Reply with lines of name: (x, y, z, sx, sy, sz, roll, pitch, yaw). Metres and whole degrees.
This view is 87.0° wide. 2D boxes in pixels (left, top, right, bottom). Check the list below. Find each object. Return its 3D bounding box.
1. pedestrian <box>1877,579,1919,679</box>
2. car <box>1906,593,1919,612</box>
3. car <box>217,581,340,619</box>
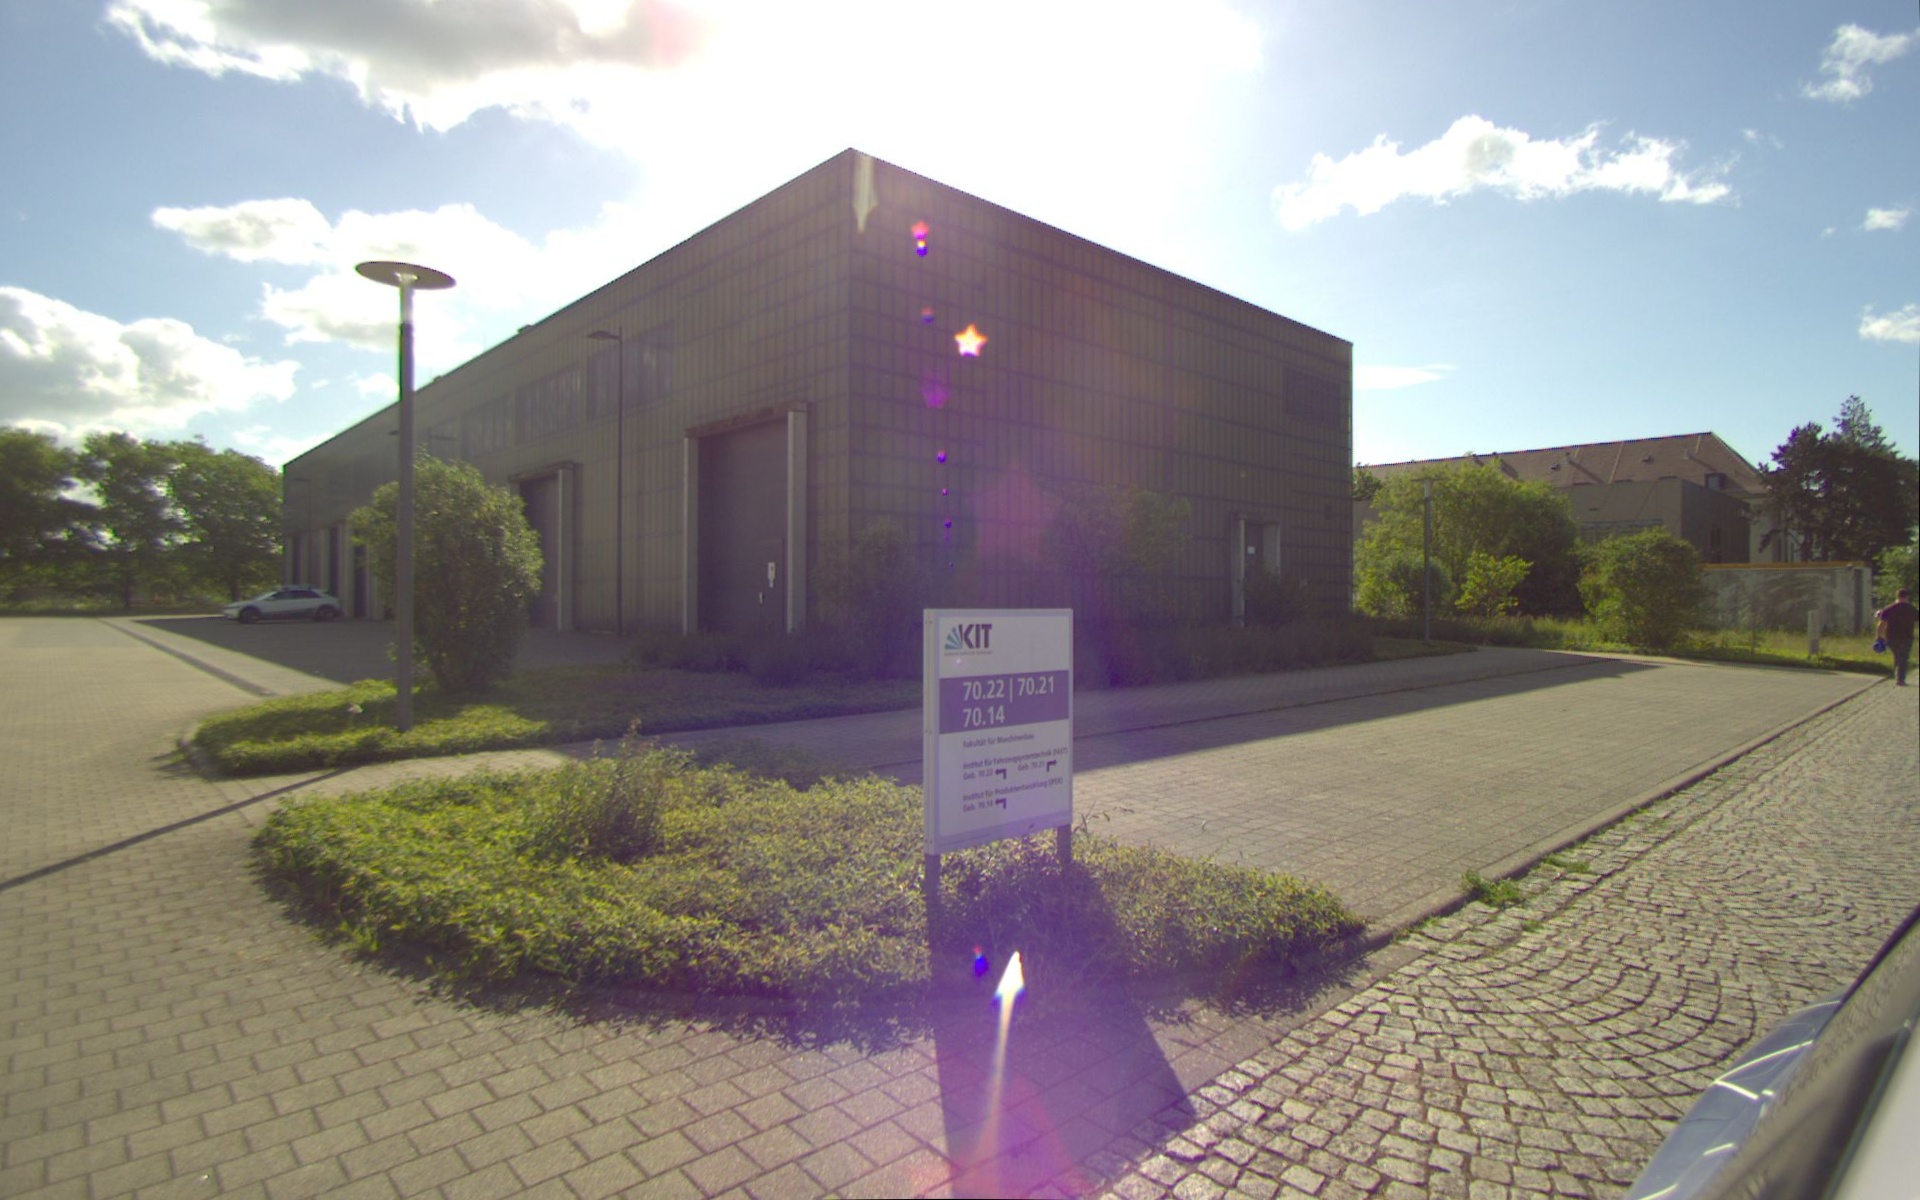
pedestrian: (17.781, 0.528, 18.956, 1.051, 1.803, 0.795, 0, 1, -45)
car: (66.204, 0.155, 68.642, 2.897, 1.275, 1.270, 0, 0, 39)
car: (-31.676, -0.001, 47.103, 4.504, 1.684, 1.995, 0, 1, -44)
